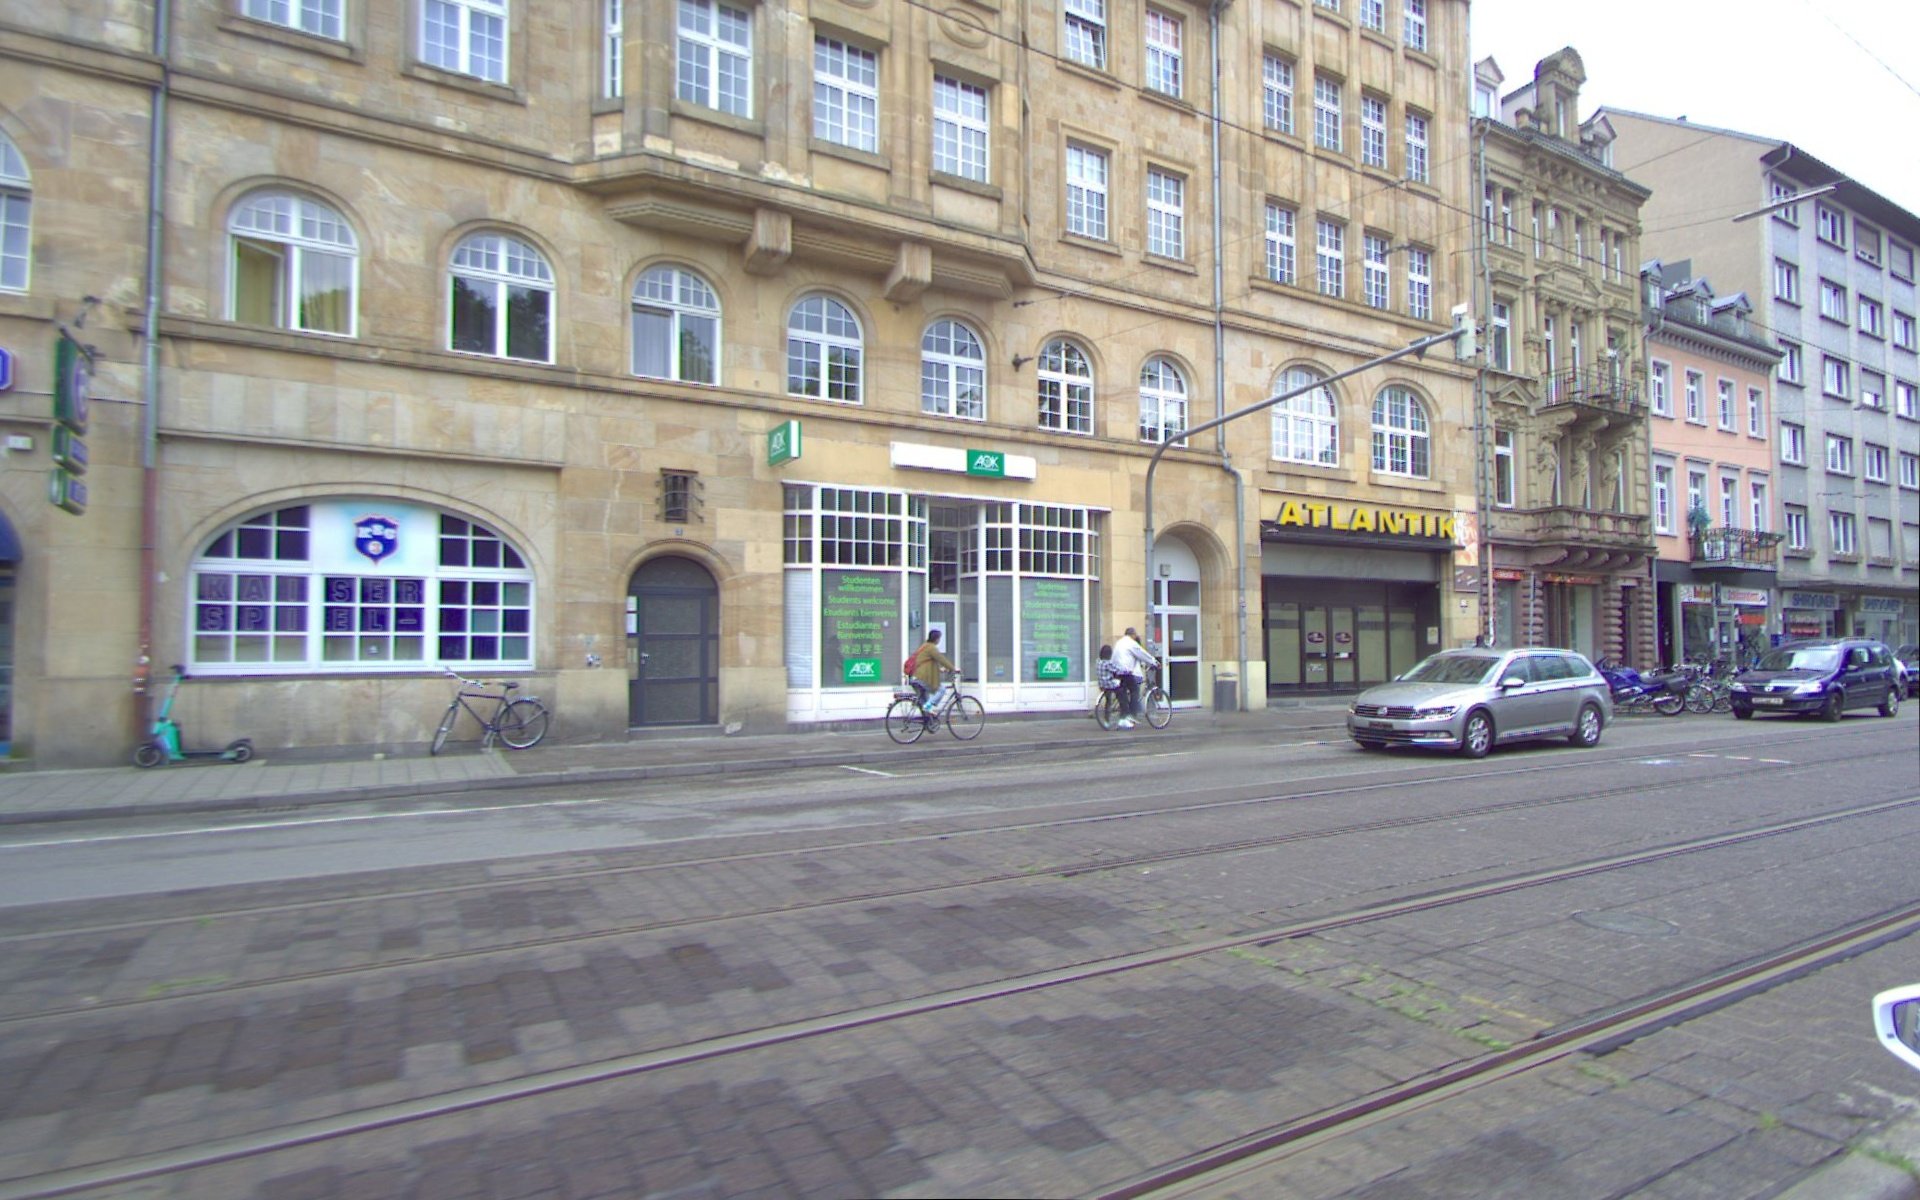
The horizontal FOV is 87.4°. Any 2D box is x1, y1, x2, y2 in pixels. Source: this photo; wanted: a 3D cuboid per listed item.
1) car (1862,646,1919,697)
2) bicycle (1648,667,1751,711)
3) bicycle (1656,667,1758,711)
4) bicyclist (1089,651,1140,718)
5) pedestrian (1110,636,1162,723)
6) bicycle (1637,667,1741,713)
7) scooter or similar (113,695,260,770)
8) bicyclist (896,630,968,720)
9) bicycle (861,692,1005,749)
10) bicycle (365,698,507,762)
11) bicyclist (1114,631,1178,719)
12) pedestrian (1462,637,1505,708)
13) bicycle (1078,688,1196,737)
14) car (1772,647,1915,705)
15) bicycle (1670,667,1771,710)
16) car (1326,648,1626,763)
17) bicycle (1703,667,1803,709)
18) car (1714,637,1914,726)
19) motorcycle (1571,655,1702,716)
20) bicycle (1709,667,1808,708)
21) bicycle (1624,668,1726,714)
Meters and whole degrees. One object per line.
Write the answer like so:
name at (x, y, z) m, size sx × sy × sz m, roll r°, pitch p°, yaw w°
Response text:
car at (30.412, 2.226, 31.628) m, size 4.351 × 1.524 × 1.768 m, roll 2°, pitch -3°, yaw -31°
bicycle at (18.027, 2.151, 24.534) m, size 0.459 × 1.014 × 1.952 m, roll 2°, pitch -3°, yaw -37°
bicycle at (18.428, 2.185, 24.820) m, size 0.459 × 1.014 × 1.952 m, roll 2°, pitch -3°, yaw -37°
bicyclist at (2.684, 1.460, 17.454) m, size 0.652 × 1.132 × 0.608 m, roll 1°, pitch -3°, yaw -30°
pedestrian at (3.377, 1.506, 19.292) m, size 0.733 × 1.634 × 0.682 m, roll 1°, pitch -3°, yaw -30°
bicycle at (17.466, 2.141, 24.101) m, size 0.459 × 1.014 × 1.952 m, roll 2°, pitch -3°, yaw -37°
scooter or similar at (-9.390, 1.591, 12.254) m, size 1.330 × 0.813 × 0.579 m, roll 1°, pitch -3°, yaw -30°
bicyclist at (-0.434, 1.151, 15.534) m, size 0.961 × 1.341 × 0.608 m, roll 1°, pitch -3°, yaw -30°
bicycle at (-0.392, 1.834, 15.512) m, size 2.224 × 0.755 × 0.579 m, roll 2°, pitch -3°, yaw -31°
bicycle at (-7.136, 1.754, 13.715) m, size 1.686 × 0.755 × 0.579 m, roll 2°, pitch -3°, yaw -31°
bicyclist at (3.303, 1.311, 17.822) m, size 0.961 × 1.507 × 0.608 m, roll 1°, pitch -3°, yaw -30°
pedestrian at (12.169, 1.683, 23.355) m, size 0.710 × 1.618 × 0.565 m, roll 1°, pitch -3°, yaw -30°
bicycle at (3.139, 1.958, 17.707) m, size 2.224 × 0.755 × 0.579 m, roll 1°, pitch -3°, yaw -31°
car at (25.090, 2.114, 28.499) m, size 4.351 × 1.524 × 1.768 m, roll 2°, pitch -3°, yaw -31°
bicycle at (19.099, 2.194, 25.266) m, size 0.459 × 1.014 × 1.952 m, roll 2°, pitch -3°, yaw -37°
car at (7.649, 1.441, 14.786) m, size 4.560 × 1.468 × 1.751 m, roll 2°, pitch -3°, yaw -30°
bicycle at (20.430, 2.260, 25.922) m, size 0.459 × 1.014 × 1.952 m, roll 2°, pitch -3°, yaw -37°
car at (17.945, 1.646, 21.062) m, size 4.560 × 1.693 × 1.751 m, roll 1°, pitch -3°, yaw -30°
motorcycle at (15.182, 1.893, 22.628) m, size 2.299 × 1.319 × 0.883 m, roll -1°, pitch -3°, yaw 24°
bicycle at (20.848, 2.263, 26.263) m, size 0.459 × 1.014 × 1.952 m, roll 2°, pitch -3°, yaw -37°
bicycle at (16.836, 2.133, 23.692) m, size 0.459 × 1.014 × 1.908 m, roll 2°, pitch -3°, yaw -37°
